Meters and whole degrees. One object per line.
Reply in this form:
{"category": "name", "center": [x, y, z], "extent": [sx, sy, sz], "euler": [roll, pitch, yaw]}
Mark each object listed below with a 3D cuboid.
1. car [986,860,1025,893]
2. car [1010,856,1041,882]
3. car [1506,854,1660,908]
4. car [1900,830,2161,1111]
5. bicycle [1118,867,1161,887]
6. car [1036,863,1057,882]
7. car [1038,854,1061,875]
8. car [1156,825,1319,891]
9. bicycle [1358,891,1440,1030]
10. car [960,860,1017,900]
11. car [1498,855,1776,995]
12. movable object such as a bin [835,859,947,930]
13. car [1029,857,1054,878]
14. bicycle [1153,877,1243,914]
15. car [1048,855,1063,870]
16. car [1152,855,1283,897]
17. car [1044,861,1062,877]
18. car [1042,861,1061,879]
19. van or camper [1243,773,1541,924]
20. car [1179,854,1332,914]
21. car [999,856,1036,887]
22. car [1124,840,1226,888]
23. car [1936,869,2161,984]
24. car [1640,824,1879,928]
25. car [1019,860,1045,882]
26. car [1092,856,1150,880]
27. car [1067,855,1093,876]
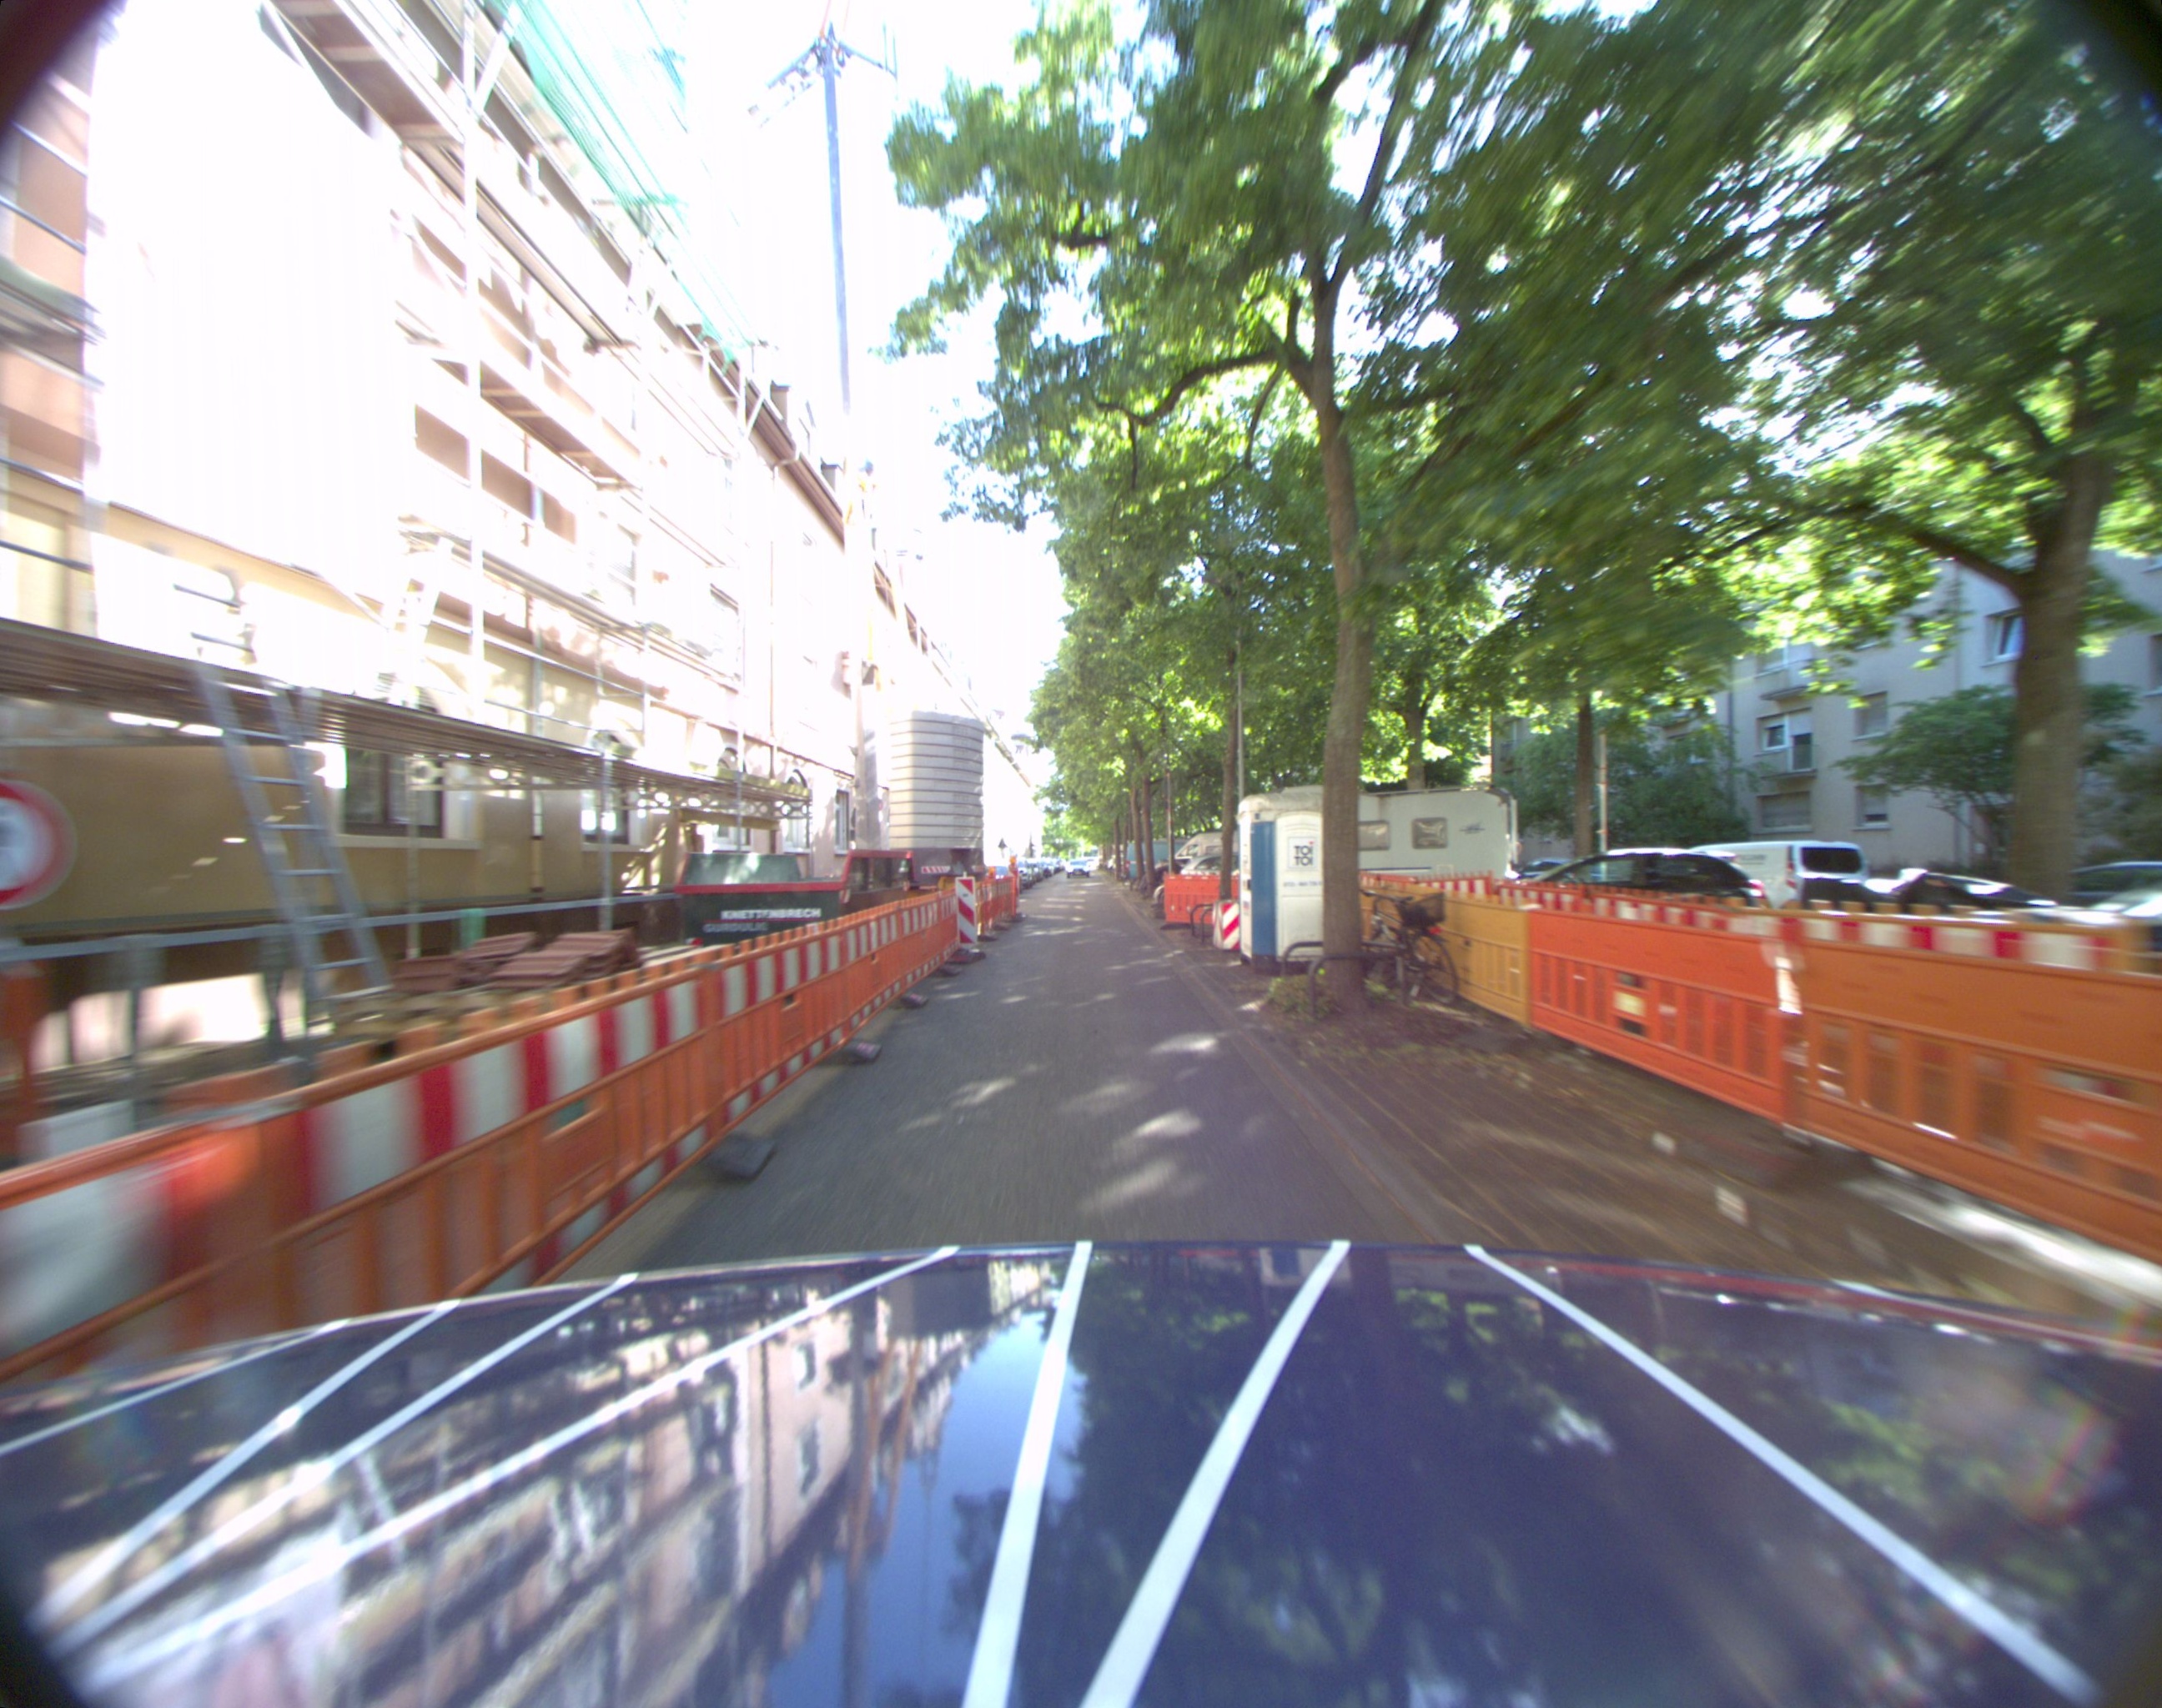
{"category": "car", "center": [-3.487, 0.998, 35.486], "extent": [1.671, 1.419, 3.971], "euler": [0, 0, -4]}
{"category": "car", "center": [-3.327, 0.884, 46.114], "extent": [1.671, 1.503, 3.606], "euler": [0, 0, -1]}
{"category": "car", "center": [14.807, 0.747, 22.727], "extent": [1.998, 1.477, 4.000], "euler": [0, 0, 0]}
{"category": "car", "center": [7.441, 0.624, 3.991], "extent": [3.988, 1.510, 1.674], "euler": [0, 0, 34]}
{"category": "bicycle", "center": [3.000, 1.161, 38.704], "extent": [2.149, 0.964, 0.609], "euler": [0, 0, 7]}
{"category": "car", "center": [-3.252, 1.717, 71.991], "extent": [1.864, 1.772, 4.000], "euler": [0, 0, -1]}
{"category": "car", "center": [-2.684, 0.871, 66.034], "extent": [1.864, 1.772, 4.000], "euler": [0, 0, -1]}
{"category": "car", "center": [6.351, 0.166, 31.049], "extent": [6.186, 2.496, 2.143], "euler": [0, 0, 28]}
{"category": "bicycle", "center": [3.090, 0.978, 7.492], "extent": [0.281, 1.149, 1.552], "euler": [0, 0, 5]}
{"category": "car", "center": [-3.534, 0.955, 29.677], "extent": [1.765, 1.455, 4.244], "euler": [0, 0, -1]}
{"category": "car", "center": [7.620, 0.882, 10.691], "extent": [2.984, 1.707, 1.425], "euler": [0, 0, 32]}
{"category": "movable object such as a bin", "center": [-4.329, 0.871, 17.354], "extent": [1.872, 1.518, 1.631], "euler": [0, 0, 35]}
{"category": "car", "center": [-3.112, 1.052, 60.613], "extent": [1.864, 1.584, 4.000], "euler": [0, 0, -1]}
{"category": "bicycle", "center": [3.173, 1.120, 20.676], "extent": [2.379, 0.972, 0.502], "euler": [-1, 0, 10]}
{"category": "car", "center": [-3.127, 1.025, 93.952], "extent": [1.864, 1.772, 4.000], "euler": [0, 0, -1]}
{"category": "car", "center": [5.071, 0.792, 28.496], "extent": [4.512, 1.474, 1.741], "euler": [0, 0, 30]}
{"category": "car", "center": [-3.042, 1.621, 83.707], "extent": [1.864, 1.772, 4.000], "euler": [0, 0, -1]}
{"category": "car", "center": [-2.991, 1.664, 77.905], "extent": [1.864, 1.772, 4.000], "euler": [0, 0, -1]}
{"category": "van or camper", "center": [7.037, -0.098, 17.504], "extent": [6.017, 2.984, 2.404], "euler": [0, 0, 29]}
{"category": "car", "center": [5.032, 0.807, 21.912], "extent": [3.990, 1.607, 1.800], "euler": [0, 0, 26]}
{"category": "car", "center": [-3.311, 0.885, 40.347], "extent": [1.671, 1.590, 4.273], "euler": [0, 0, -1]}
{"category": "car", "center": [4.381, 0.455, 35.445], "extent": [4.386, 2.155, 1.774], "euler": [0, 0, 28]}
{"category": "car", "center": [14.960, 0.971, 10.478], "extent": [1.723, 1.434, 4.127], "euler": [0, 0, 1]}
{"category": "car", "center": [14.957, 0.433, 17.120], "extent": [1.625, 2.002, 4.267], "euler": [-2, 0, 2]}
{"category": "car", "center": [-3.243, 1.124, 50.837], "extent": [1.577, 1.428, 3.606], "euler": [0, 0, -1]}
{"category": "car", "center": [2.573, 0.890, 48.863], "extent": [3.265, 1.408, 1.751], "euler": [-1, 1, 32]}
{"category": "car", "center": [-0.066, 0.899, 60.728], "extent": [1.792, 1.510, 4.001], "euler": [-3, 0, 3]}
